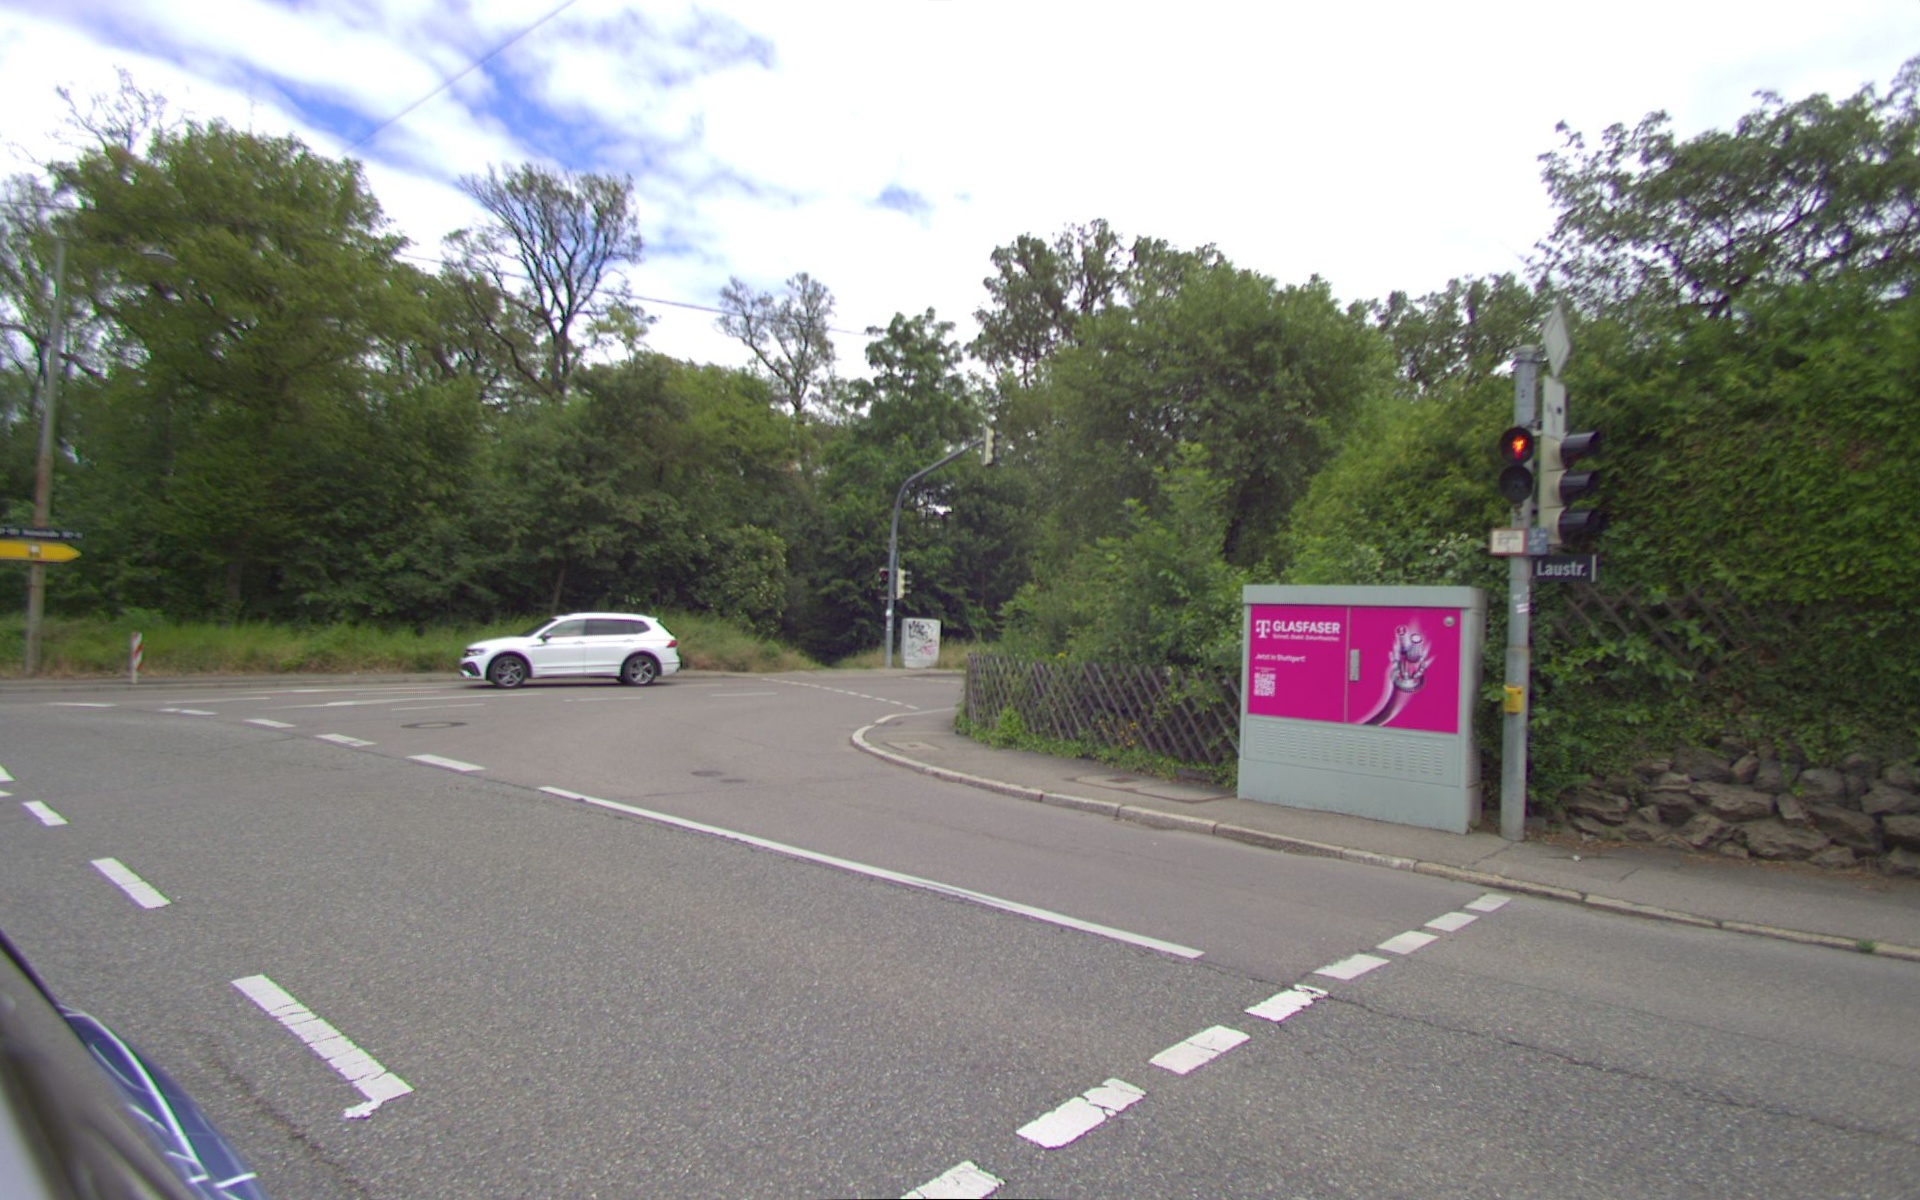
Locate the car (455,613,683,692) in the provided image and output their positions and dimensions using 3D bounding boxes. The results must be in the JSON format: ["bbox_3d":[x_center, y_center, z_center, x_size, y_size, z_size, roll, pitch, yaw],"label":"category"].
[{"bbox_3d":[-8.817,1.214,22.918,4.573,1.640,1.870,3,-3,-29],"label":"car"}]
